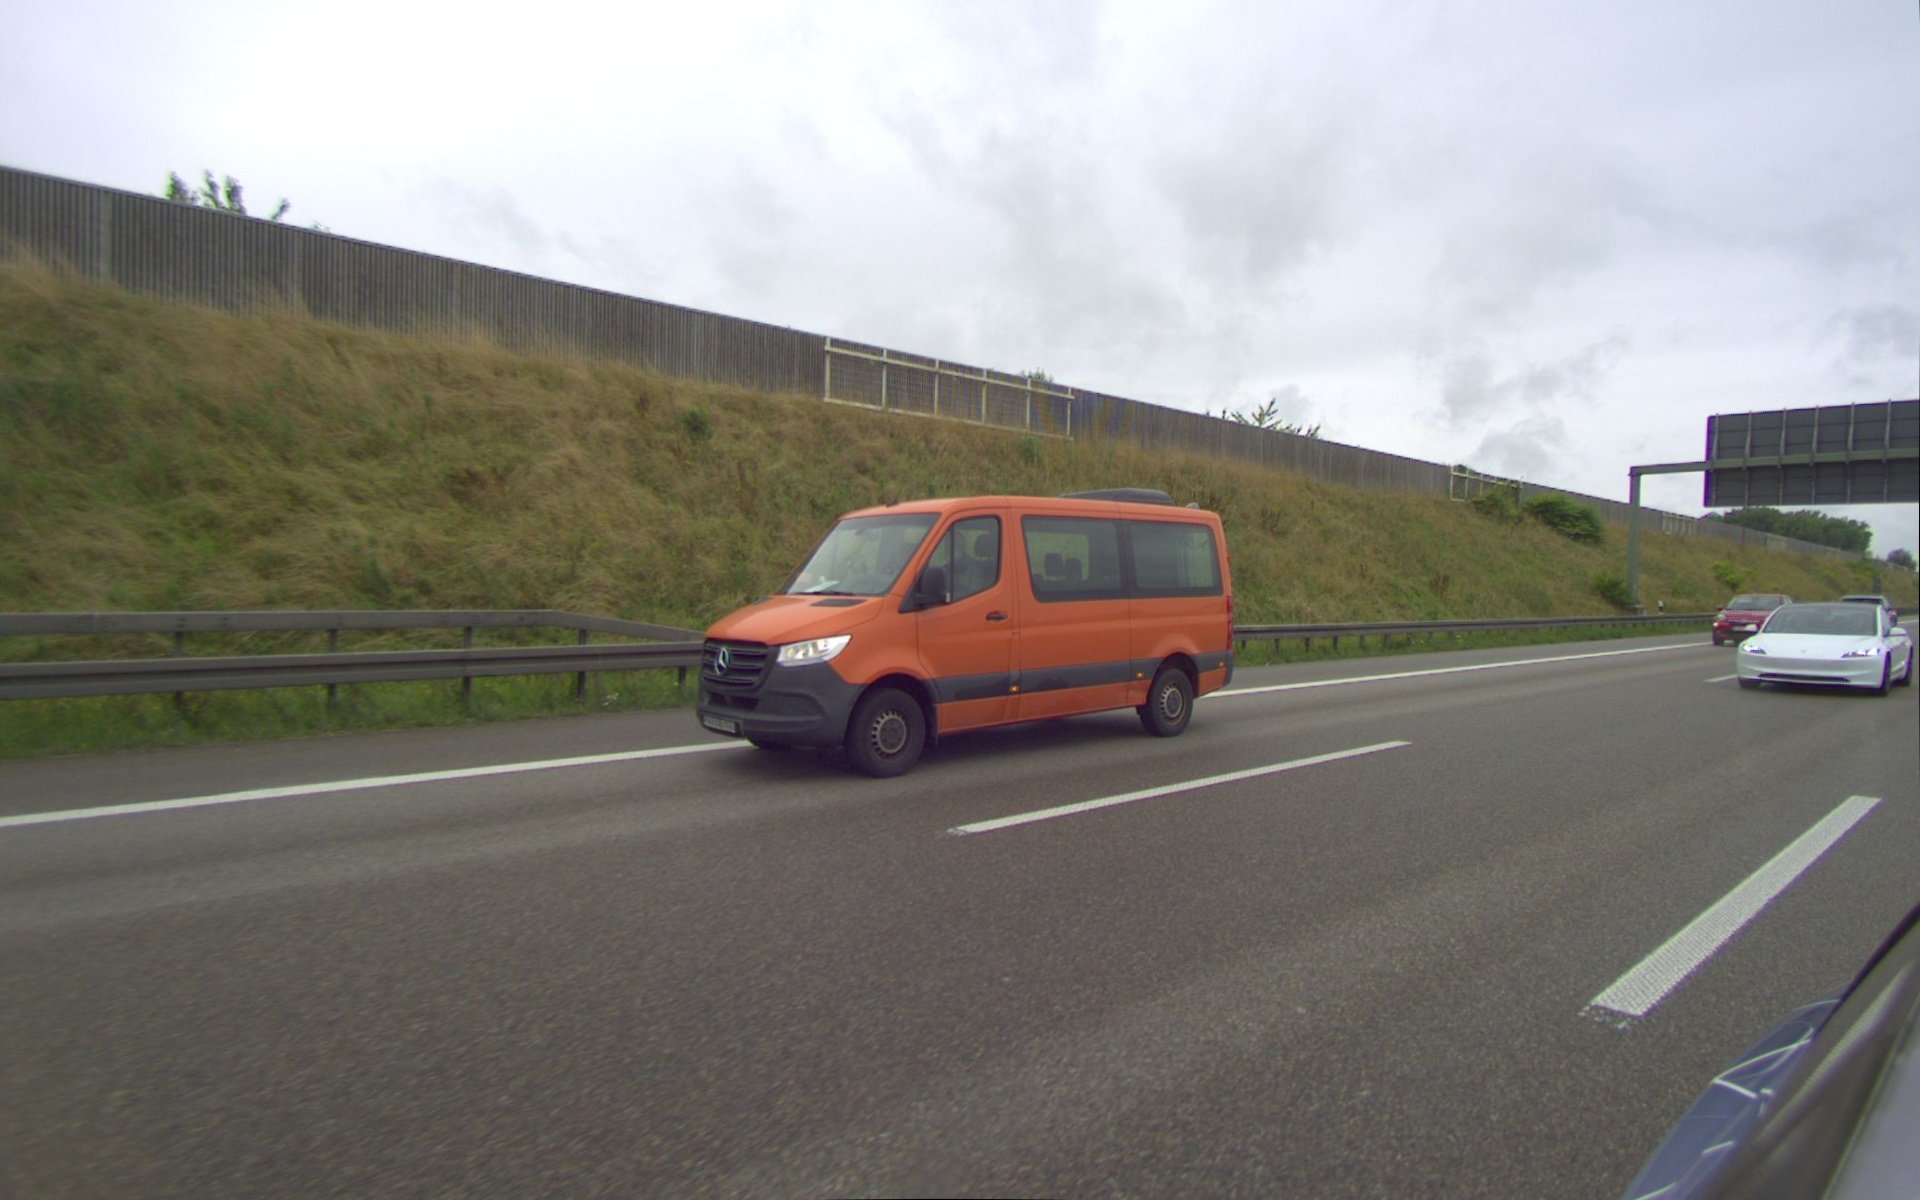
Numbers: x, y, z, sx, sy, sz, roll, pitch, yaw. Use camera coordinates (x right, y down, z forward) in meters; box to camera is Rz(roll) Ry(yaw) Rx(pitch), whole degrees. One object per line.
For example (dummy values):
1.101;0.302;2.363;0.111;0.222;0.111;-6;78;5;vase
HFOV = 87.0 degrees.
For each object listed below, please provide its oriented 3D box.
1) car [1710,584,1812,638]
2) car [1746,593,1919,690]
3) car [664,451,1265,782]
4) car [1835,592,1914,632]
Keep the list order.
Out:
24.966;0.297;31.507;3.932;1.554;1.876;-1;1;-42;car
14.944;0.589;17.047;4.730;1.380;1.876;-1;1;-42;car
0.402;0.088;9.973;6.074;2.344;2.089;0;1;-41;car
36.755;0.443;40.645;4.409;1.507;1.927;-1;1;-42;car
